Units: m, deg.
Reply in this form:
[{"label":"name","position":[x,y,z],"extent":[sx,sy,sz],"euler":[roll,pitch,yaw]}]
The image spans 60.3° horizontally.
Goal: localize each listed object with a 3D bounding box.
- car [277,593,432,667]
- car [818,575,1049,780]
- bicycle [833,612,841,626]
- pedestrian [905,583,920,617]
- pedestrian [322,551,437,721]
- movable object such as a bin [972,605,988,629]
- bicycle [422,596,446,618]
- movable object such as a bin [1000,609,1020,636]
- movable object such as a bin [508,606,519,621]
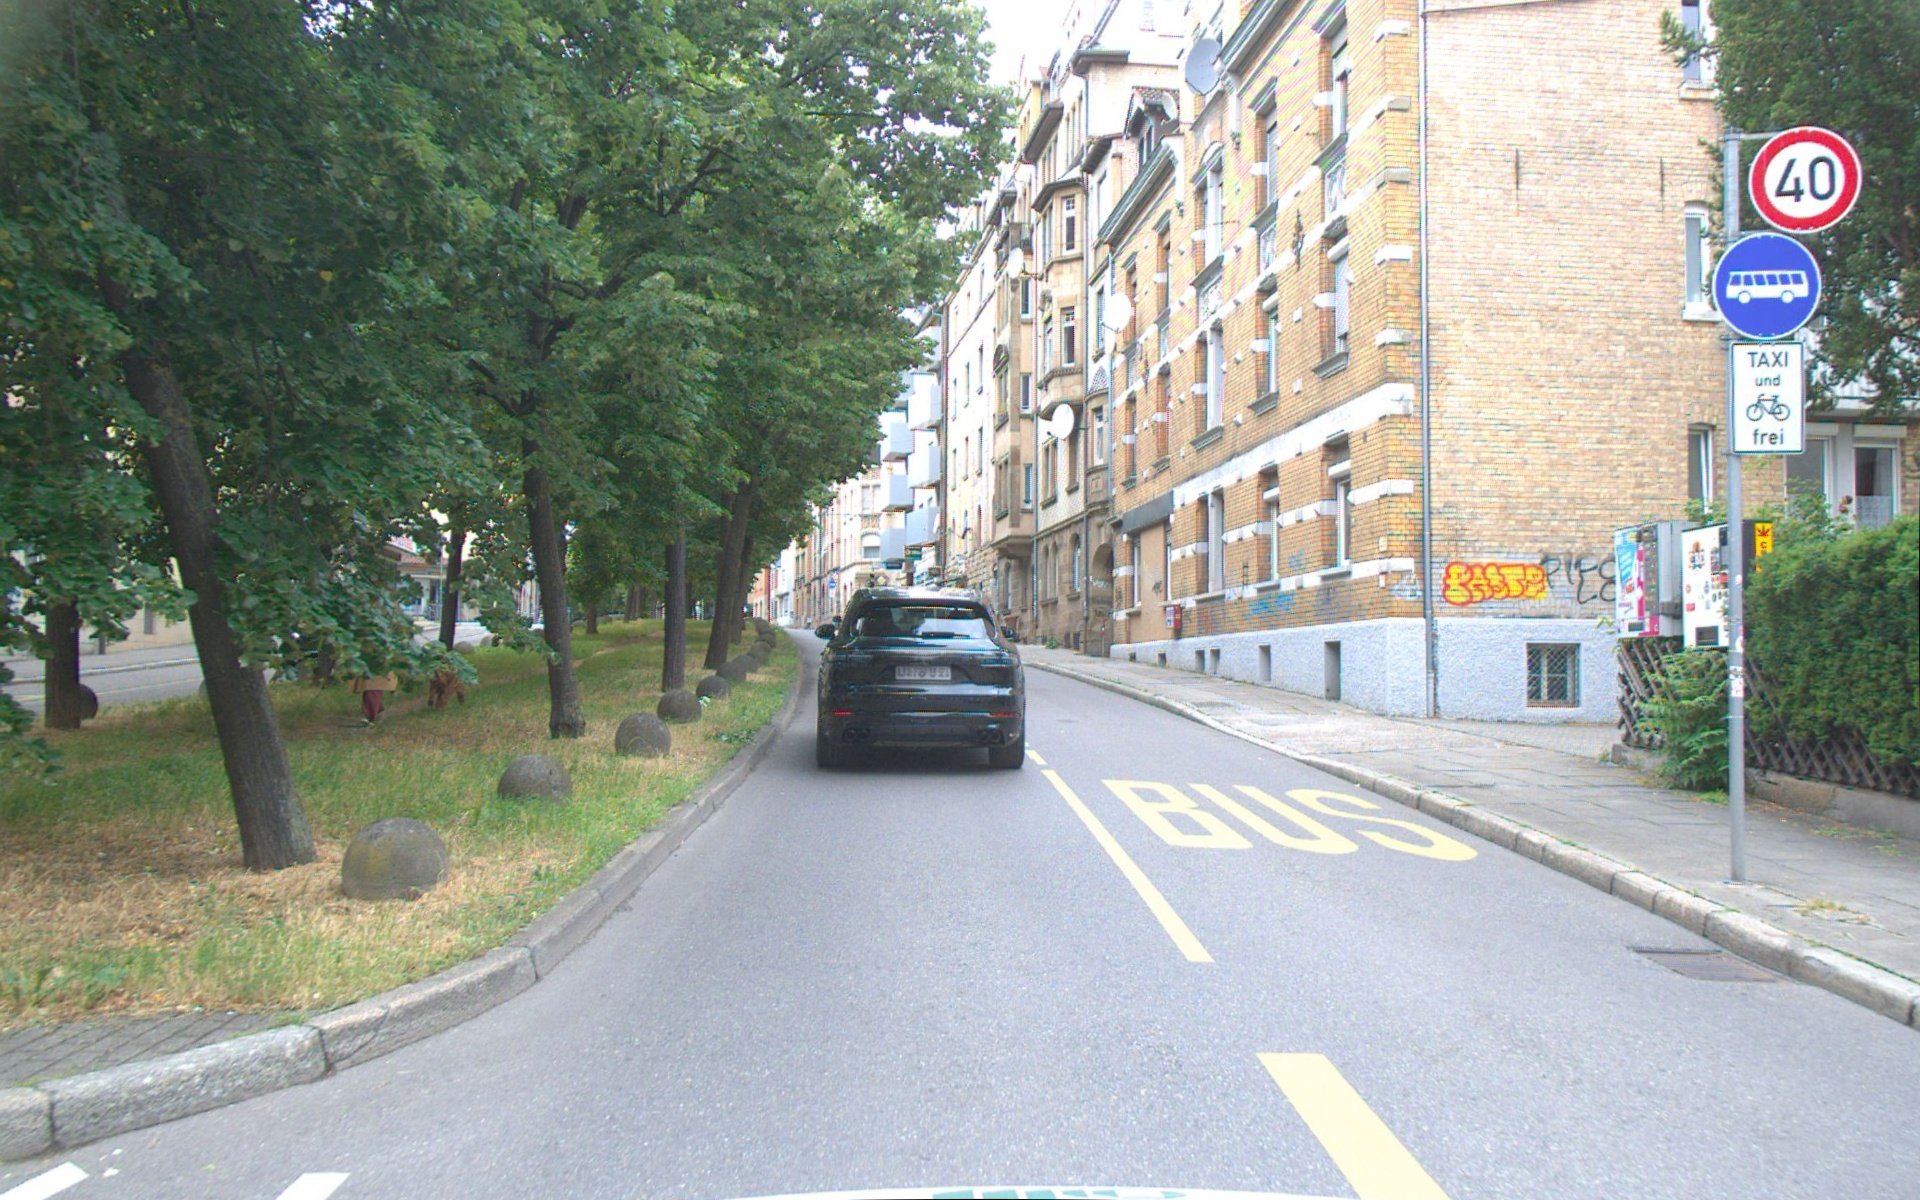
[{"label":"car","position":[-13.147,0.599,36.228],"extent":[1.723,1.406,4.668],"euler":[-1,1,-1]},{"label":"car","position":[-0.346,0.651,16.404],"extent":[1.954,1.694,3.997],"euler":[2,1,-4]},{"label":"bicycle","position":[-9.547,1.480,128.258],"extent":[0.438,1.055,2.242],"euler":[0,-2,-10]},{"label":"pedestrian","position":[-2.479,0.007,86.183],"extent":[0.737,1.722,0.857],"euler":[0,-2,-7]},{"label":"pedestrian","position":[-6.283,0.393,17.963],"extent":[0.816,1.742,1.122],"euler":[-3,-2,-2]},{"label":"movable object such as a bin","position":[0.812,0.696,66.766],"extent":[0.583,0.920,0.502],"euler":[1,-4,-7]},{"label":"bicycle","position":[-27.903,0.380,87.671],"extent":[0.754,1.104,2.016],"euler":[3,-2,-30]},{"label":"movable object such as a bin","position":[1.762,0.799,58.262],"extent":[0.583,0.920,0.562],"euler":[1,-1,-7]},{"label":"movable object such as a bin","position":[-31.279,0.950,115.962],"extent":[0.680,1.078,0.687],"euler":[2,-3,-14]}]
